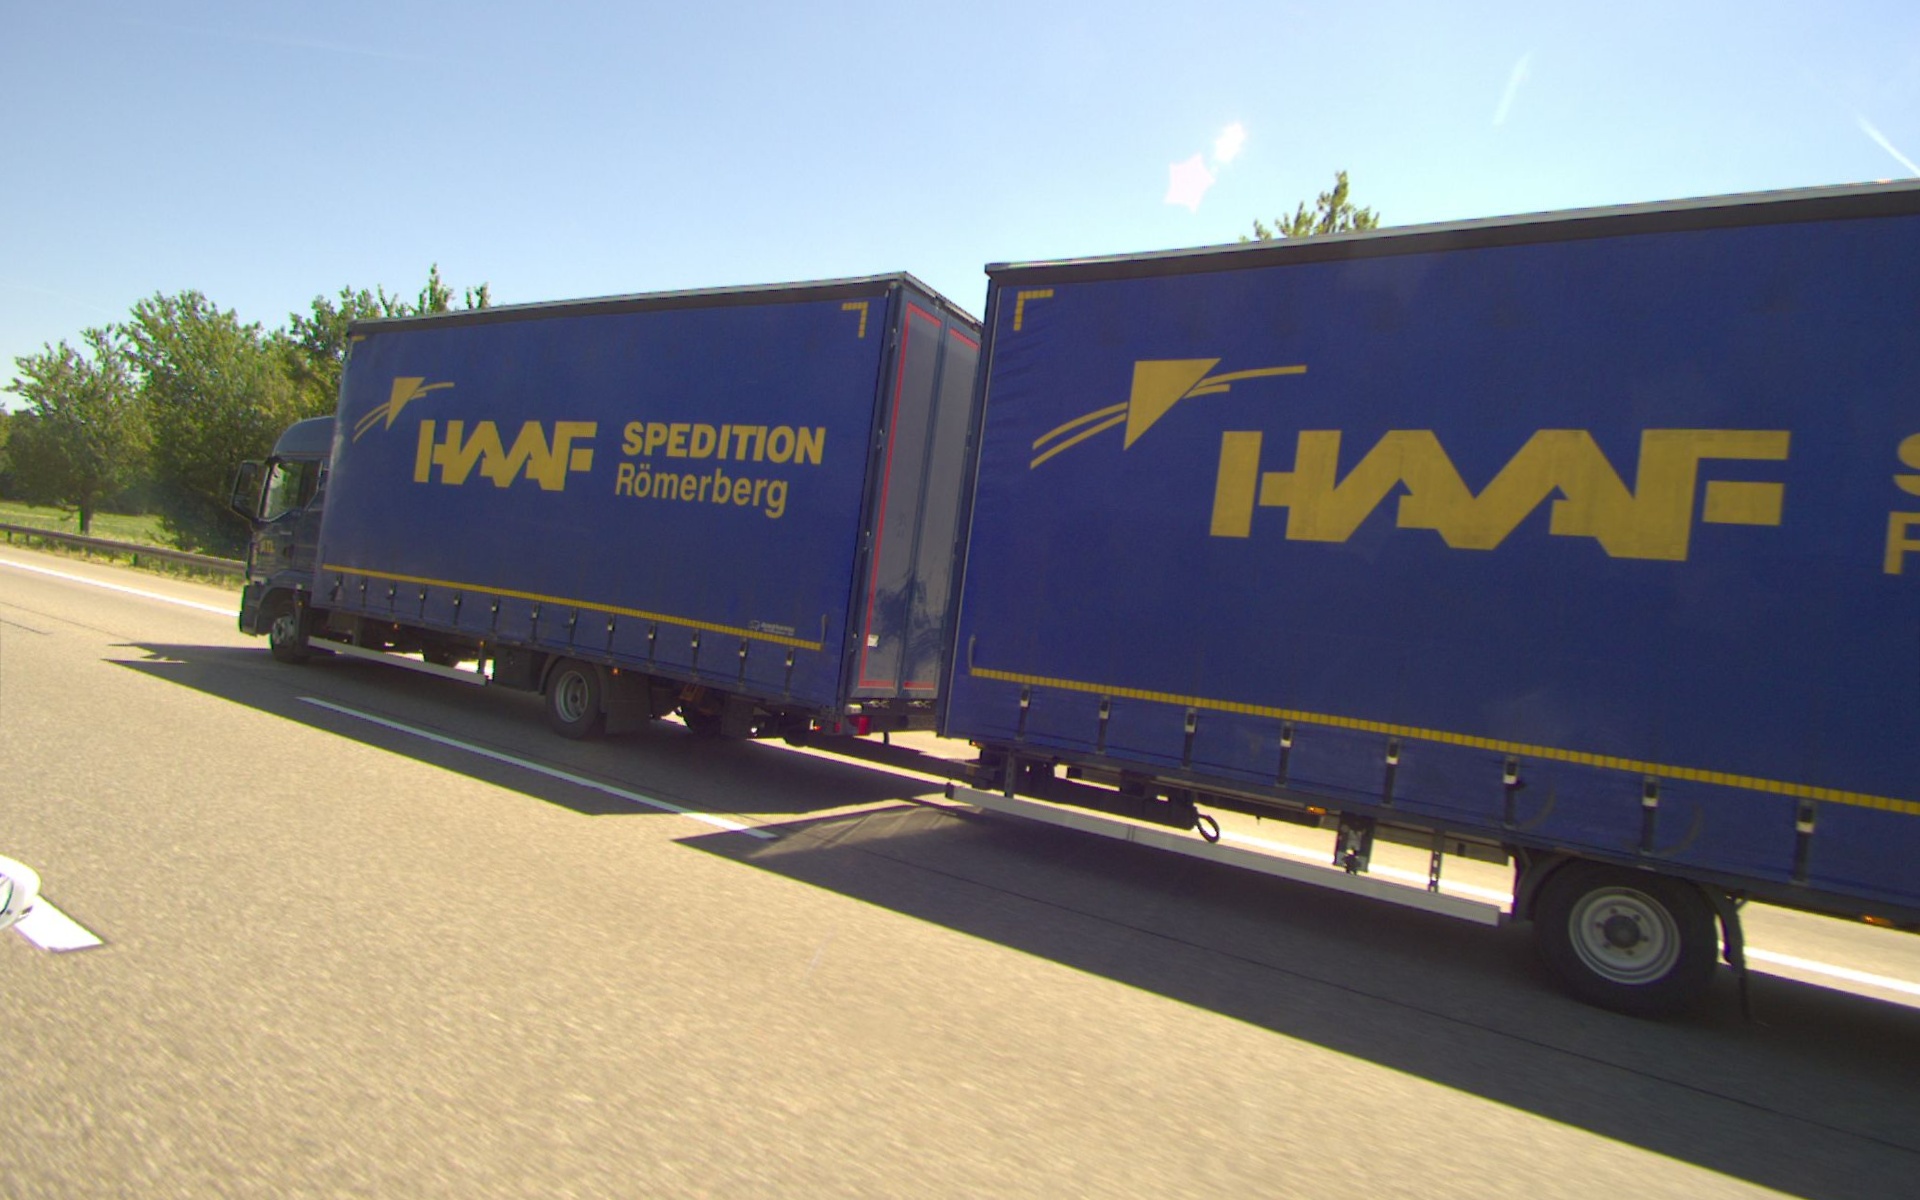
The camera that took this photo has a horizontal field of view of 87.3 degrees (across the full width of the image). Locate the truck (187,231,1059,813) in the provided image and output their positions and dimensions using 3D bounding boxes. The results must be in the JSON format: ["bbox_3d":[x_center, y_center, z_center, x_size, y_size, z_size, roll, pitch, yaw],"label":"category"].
[{"bbox_3d":[-4.489,-0.963,11.311,10.628,4.256,2.794,7,0,32],"label":"truck"}]

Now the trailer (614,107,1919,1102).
[{"bbox_3d":[2.492,-0.181,6.966,10.628,4.256,2.794,7,0,32],"label":"trailer"}]
